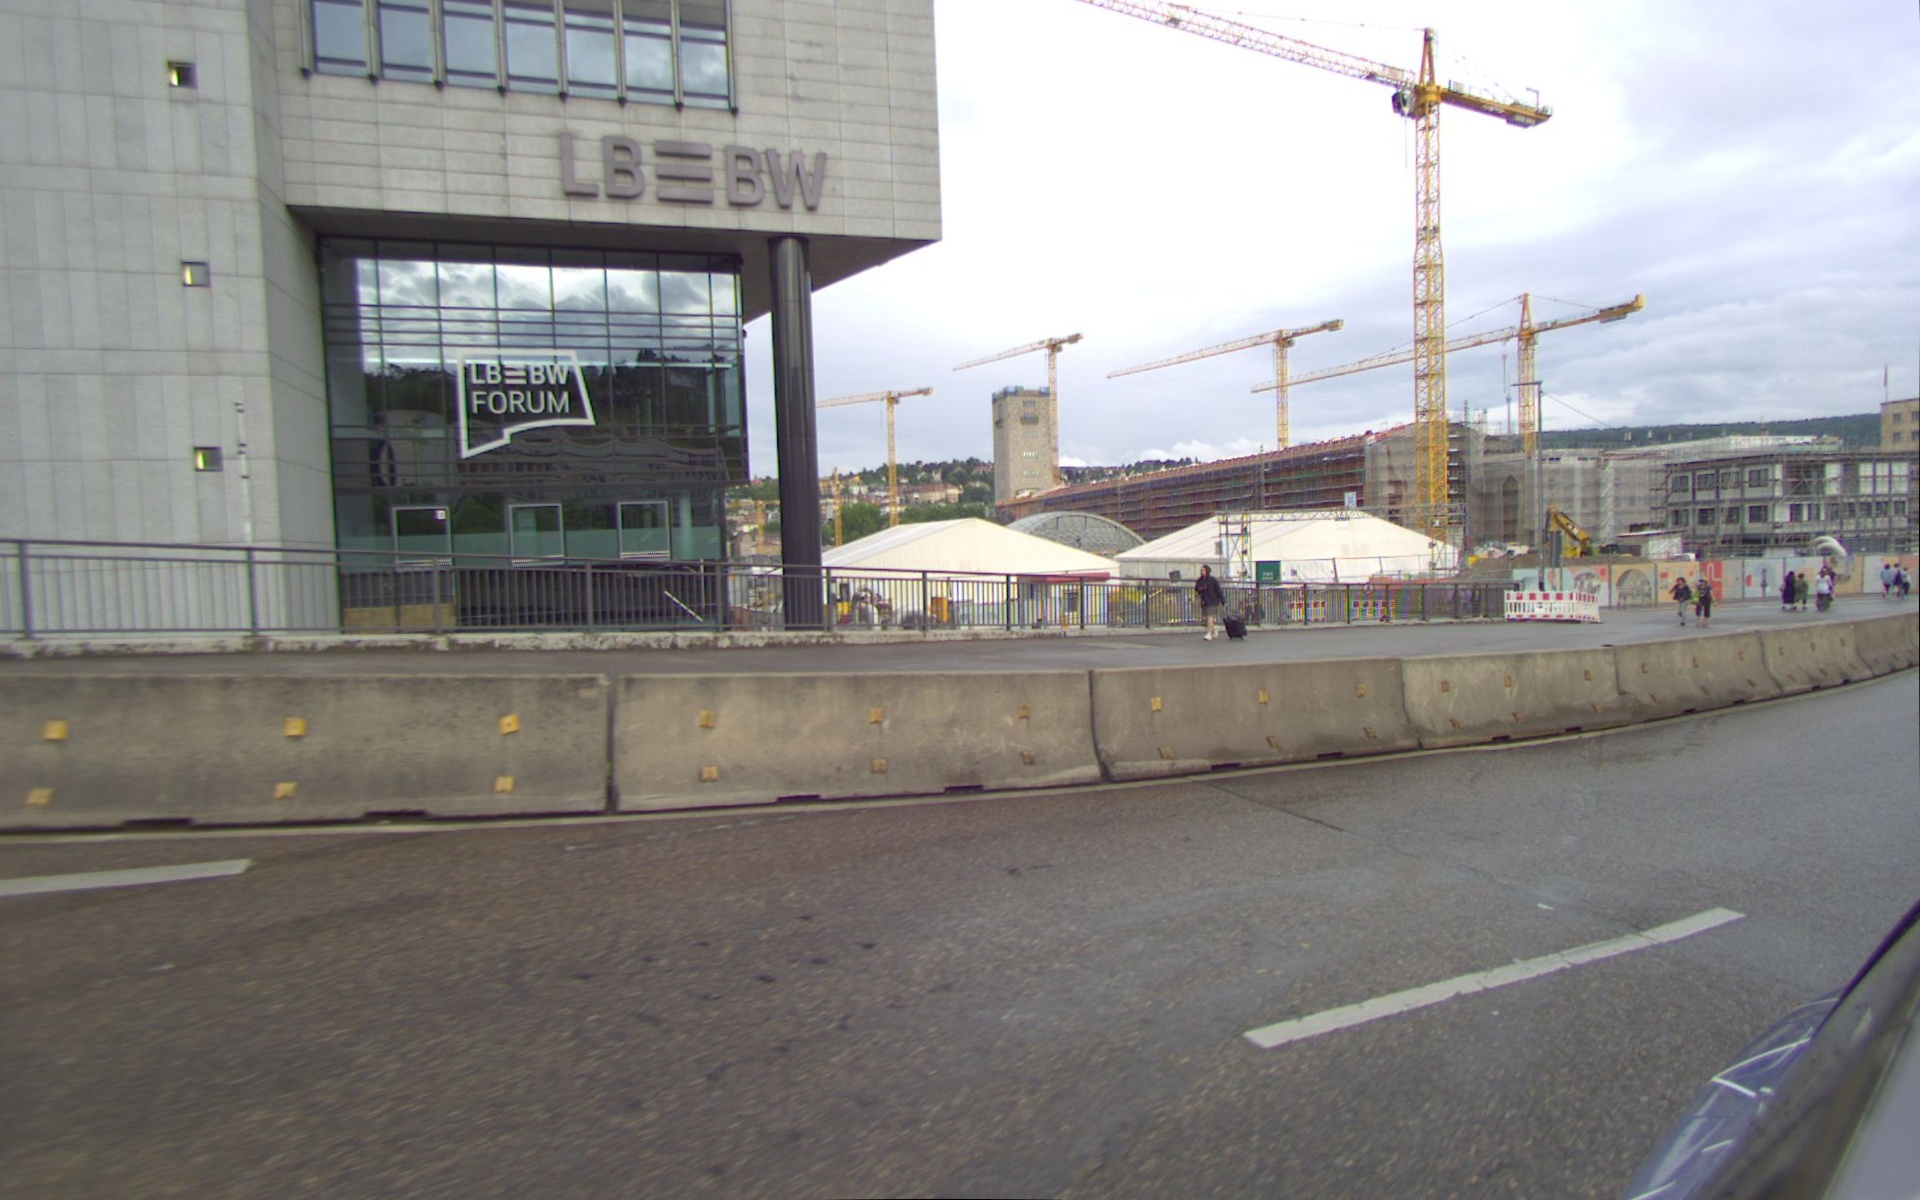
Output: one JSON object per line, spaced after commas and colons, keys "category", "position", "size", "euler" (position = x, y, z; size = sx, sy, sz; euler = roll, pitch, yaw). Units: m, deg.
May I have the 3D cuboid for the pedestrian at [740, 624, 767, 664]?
{"category": "pedestrian", "position": [-9.014, 1.912, 44.238], "size": [0.988, 1.657, 0.870], "euler": [-2, 2, -3]}

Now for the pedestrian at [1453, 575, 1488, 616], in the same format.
{"category": "pedestrian", "position": [22.043, -0.203, 43.697], "size": [0.988, 1.710, 0.870], "euler": [-2, 2, -8]}

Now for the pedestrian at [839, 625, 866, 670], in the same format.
{"category": "pedestrian", "position": [-4.242, 1.870, 39.827], "size": [0.988, 1.657, 0.870], "euler": [-2, 2, -8]}

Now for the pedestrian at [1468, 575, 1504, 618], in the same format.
{"category": "pedestrian", "position": [22.185, -0.175, 42.687], "size": [0.988, 1.746, 0.870], "euler": [-2, 2, -8]}

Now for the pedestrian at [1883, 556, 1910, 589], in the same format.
{"category": "pedestrian", "position": [47.604, -1.405, 51.450], "size": [0.751, 1.675, 0.649], "euler": [-1, 2, 0]}

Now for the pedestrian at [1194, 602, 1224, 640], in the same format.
{"category": "pedestrian", "position": [10.771, 0.899, 43.830], "size": [0.988, 1.572, 0.870], "euler": [-2, 2, -8]}

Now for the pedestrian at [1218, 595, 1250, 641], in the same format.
{"category": "pedestrian", "position": [11.130, 0.729, 41.101], "size": [0.988, 1.805, 0.775], "euler": [-2, 2, -8]}

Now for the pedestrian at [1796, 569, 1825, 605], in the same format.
{"category": "pedestrian", "position": [37.596, -0.593, 44.720], "size": [0.867, 1.541, 0.612], "euler": [-2, 2, -17]}

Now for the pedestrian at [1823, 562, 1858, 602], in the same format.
{"category": "pedestrian", "position": [41.604, -0.864, 47.824], "size": [0.987, 1.840, 0.871], "euler": [-2, 2, -17]}

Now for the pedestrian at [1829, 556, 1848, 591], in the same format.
{"category": "pedestrian", "position": [45.040, -1.380, 51.879], "size": [0.485, 1.769, 0.570], "euler": [-2, 2, -18]}

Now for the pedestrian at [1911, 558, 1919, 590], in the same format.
{"category": "pedestrian", "position": [48.277, -1.318, 50.637], "size": [0.751, 1.572, 0.649], "euler": [-1, 2, 0]}

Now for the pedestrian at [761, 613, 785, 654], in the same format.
{"category": "pedestrian", "position": [-7.798, 1.376, 42.192], "size": [0.646, 1.657, 0.736], "euler": [-1, 2, 22]}

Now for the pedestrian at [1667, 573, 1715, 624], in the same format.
{"category": "pedestrian", "position": [23.939, -0.059, 33.161], "size": [0.933, 1.613, 0.865], "euler": [-2, 2, -9]}

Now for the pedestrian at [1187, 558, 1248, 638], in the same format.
{"category": "pedestrian", "position": [5.499, -0.064, 21.660], "size": [1.039, 1.672, 0.733], "euler": [-1, 1, -9]}

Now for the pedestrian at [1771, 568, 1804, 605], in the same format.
{"category": "pedestrian", "position": [37.059, -0.609, 45.317], "size": [0.987, 1.572, 0.718], "euler": [-2, 2, -17]}

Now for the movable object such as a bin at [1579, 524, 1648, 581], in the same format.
{"category": "movable object such as a bin", "position": [41.036, -2.987, 63.492], "size": [4.147, 3.450, 1.946], "euler": [-3, 2, -30]}

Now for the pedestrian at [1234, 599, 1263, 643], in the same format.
{"category": "pedestrian", "position": [11.466, 0.821, 40.238], "size": [0.897, 1.657, 0.701], "euler": [-2, 2, -8]}

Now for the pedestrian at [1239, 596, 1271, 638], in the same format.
{"category": "pedestrian", "position": [12.213, 0.692, 41.954], "size": [0.988, 1.657, 0.870], "euler": [-2, 2, -8]}

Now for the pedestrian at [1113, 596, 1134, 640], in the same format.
{"category": "pedestrian", "position": [6.381, 0.698, 39.500], "size": [0.740, 1.657, 0.586], "euler": [-1, 2, 12]}

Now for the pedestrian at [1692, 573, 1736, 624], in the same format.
{"category": "pedestrian", "position": [24.145, -0.058, 32.416], "size": [0.788, 1.594, 0.735], "euler": [-2, 0, -9]}

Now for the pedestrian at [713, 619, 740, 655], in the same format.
{"category": "pedestrian", "position": [-11.296, 1.776, 48.955], "size": [0.854, 1.657, 1.007], "euler": [-3, 2, -40]}

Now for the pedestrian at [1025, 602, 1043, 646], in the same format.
{"category": "pedestrian", "position": [2.850, 0.922, 39.116], "size": [0.555, 1.635, 0.707], "euler": [-2, 2, -4]}

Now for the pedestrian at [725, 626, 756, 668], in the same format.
{"category": "pedestrian", "position": [-9.268, 1.979, 42.810], "size": [0.991, 1.657, 0.867], "euler": [-1, 2, 8]}

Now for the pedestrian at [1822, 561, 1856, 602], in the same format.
{"category": "pedestrian", "position": [38.241, -0.794, 44.049], "size": [0.872, 1.744, 0.782], "euler": [-2, 2, -17]}

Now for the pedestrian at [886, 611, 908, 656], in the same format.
{"category": "pedestrian", "position": [-2.643, 1.390, 42.413], "size": [0.634, 1.838, 0.751], "euler": [-1, 2, 22]}

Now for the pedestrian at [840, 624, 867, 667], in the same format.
{"category": "pedestrian", "position": [-4.303, 1.825, 40.918], "size": [0.988, 1.657, 0.870], "euler": [-2, 2, -8]}

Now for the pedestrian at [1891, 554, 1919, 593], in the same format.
{"category": "pedestrian", "position": [46.378, -1.309, 49.497], "size": [0.914, 1.871, 0.821], "euler": [-1, 2, 0]}
